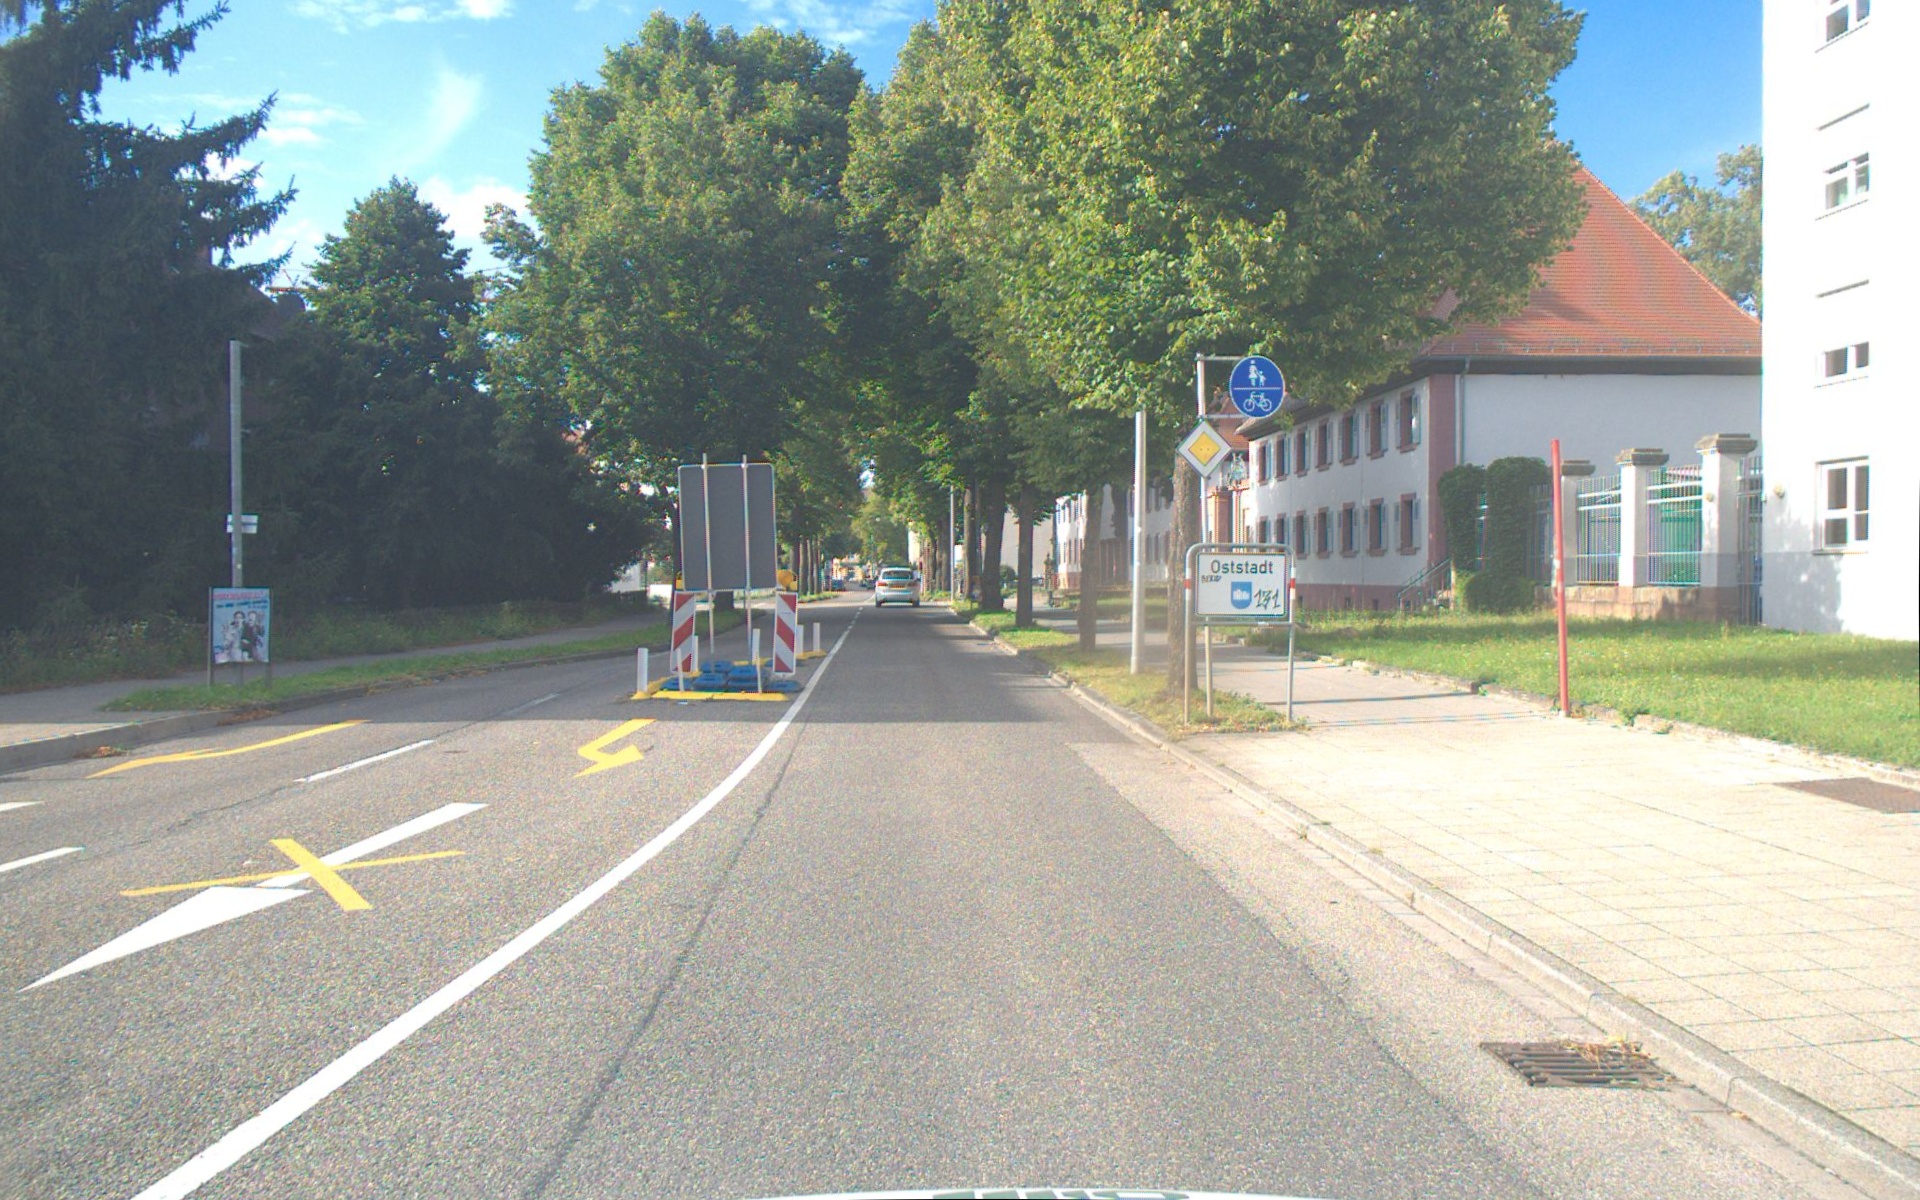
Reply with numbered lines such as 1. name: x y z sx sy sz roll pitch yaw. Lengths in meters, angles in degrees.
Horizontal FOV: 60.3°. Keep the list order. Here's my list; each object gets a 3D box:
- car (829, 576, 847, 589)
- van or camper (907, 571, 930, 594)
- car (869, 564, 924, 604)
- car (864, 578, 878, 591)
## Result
1. car: -15.590 -2.242 211.926 1.957 1.668 3.992 -1 1 -9
2. van or camper: -4.940 -2.116 196.226 2.167 2.652 5.364 -1 1 -7
3. car: -2.620 -0.638 67.429 1.955 1.582 4.268 1 0 -6
4. car: -12.896 -2.214 240.509 1.953 1.785 3.998 1 0 -3
